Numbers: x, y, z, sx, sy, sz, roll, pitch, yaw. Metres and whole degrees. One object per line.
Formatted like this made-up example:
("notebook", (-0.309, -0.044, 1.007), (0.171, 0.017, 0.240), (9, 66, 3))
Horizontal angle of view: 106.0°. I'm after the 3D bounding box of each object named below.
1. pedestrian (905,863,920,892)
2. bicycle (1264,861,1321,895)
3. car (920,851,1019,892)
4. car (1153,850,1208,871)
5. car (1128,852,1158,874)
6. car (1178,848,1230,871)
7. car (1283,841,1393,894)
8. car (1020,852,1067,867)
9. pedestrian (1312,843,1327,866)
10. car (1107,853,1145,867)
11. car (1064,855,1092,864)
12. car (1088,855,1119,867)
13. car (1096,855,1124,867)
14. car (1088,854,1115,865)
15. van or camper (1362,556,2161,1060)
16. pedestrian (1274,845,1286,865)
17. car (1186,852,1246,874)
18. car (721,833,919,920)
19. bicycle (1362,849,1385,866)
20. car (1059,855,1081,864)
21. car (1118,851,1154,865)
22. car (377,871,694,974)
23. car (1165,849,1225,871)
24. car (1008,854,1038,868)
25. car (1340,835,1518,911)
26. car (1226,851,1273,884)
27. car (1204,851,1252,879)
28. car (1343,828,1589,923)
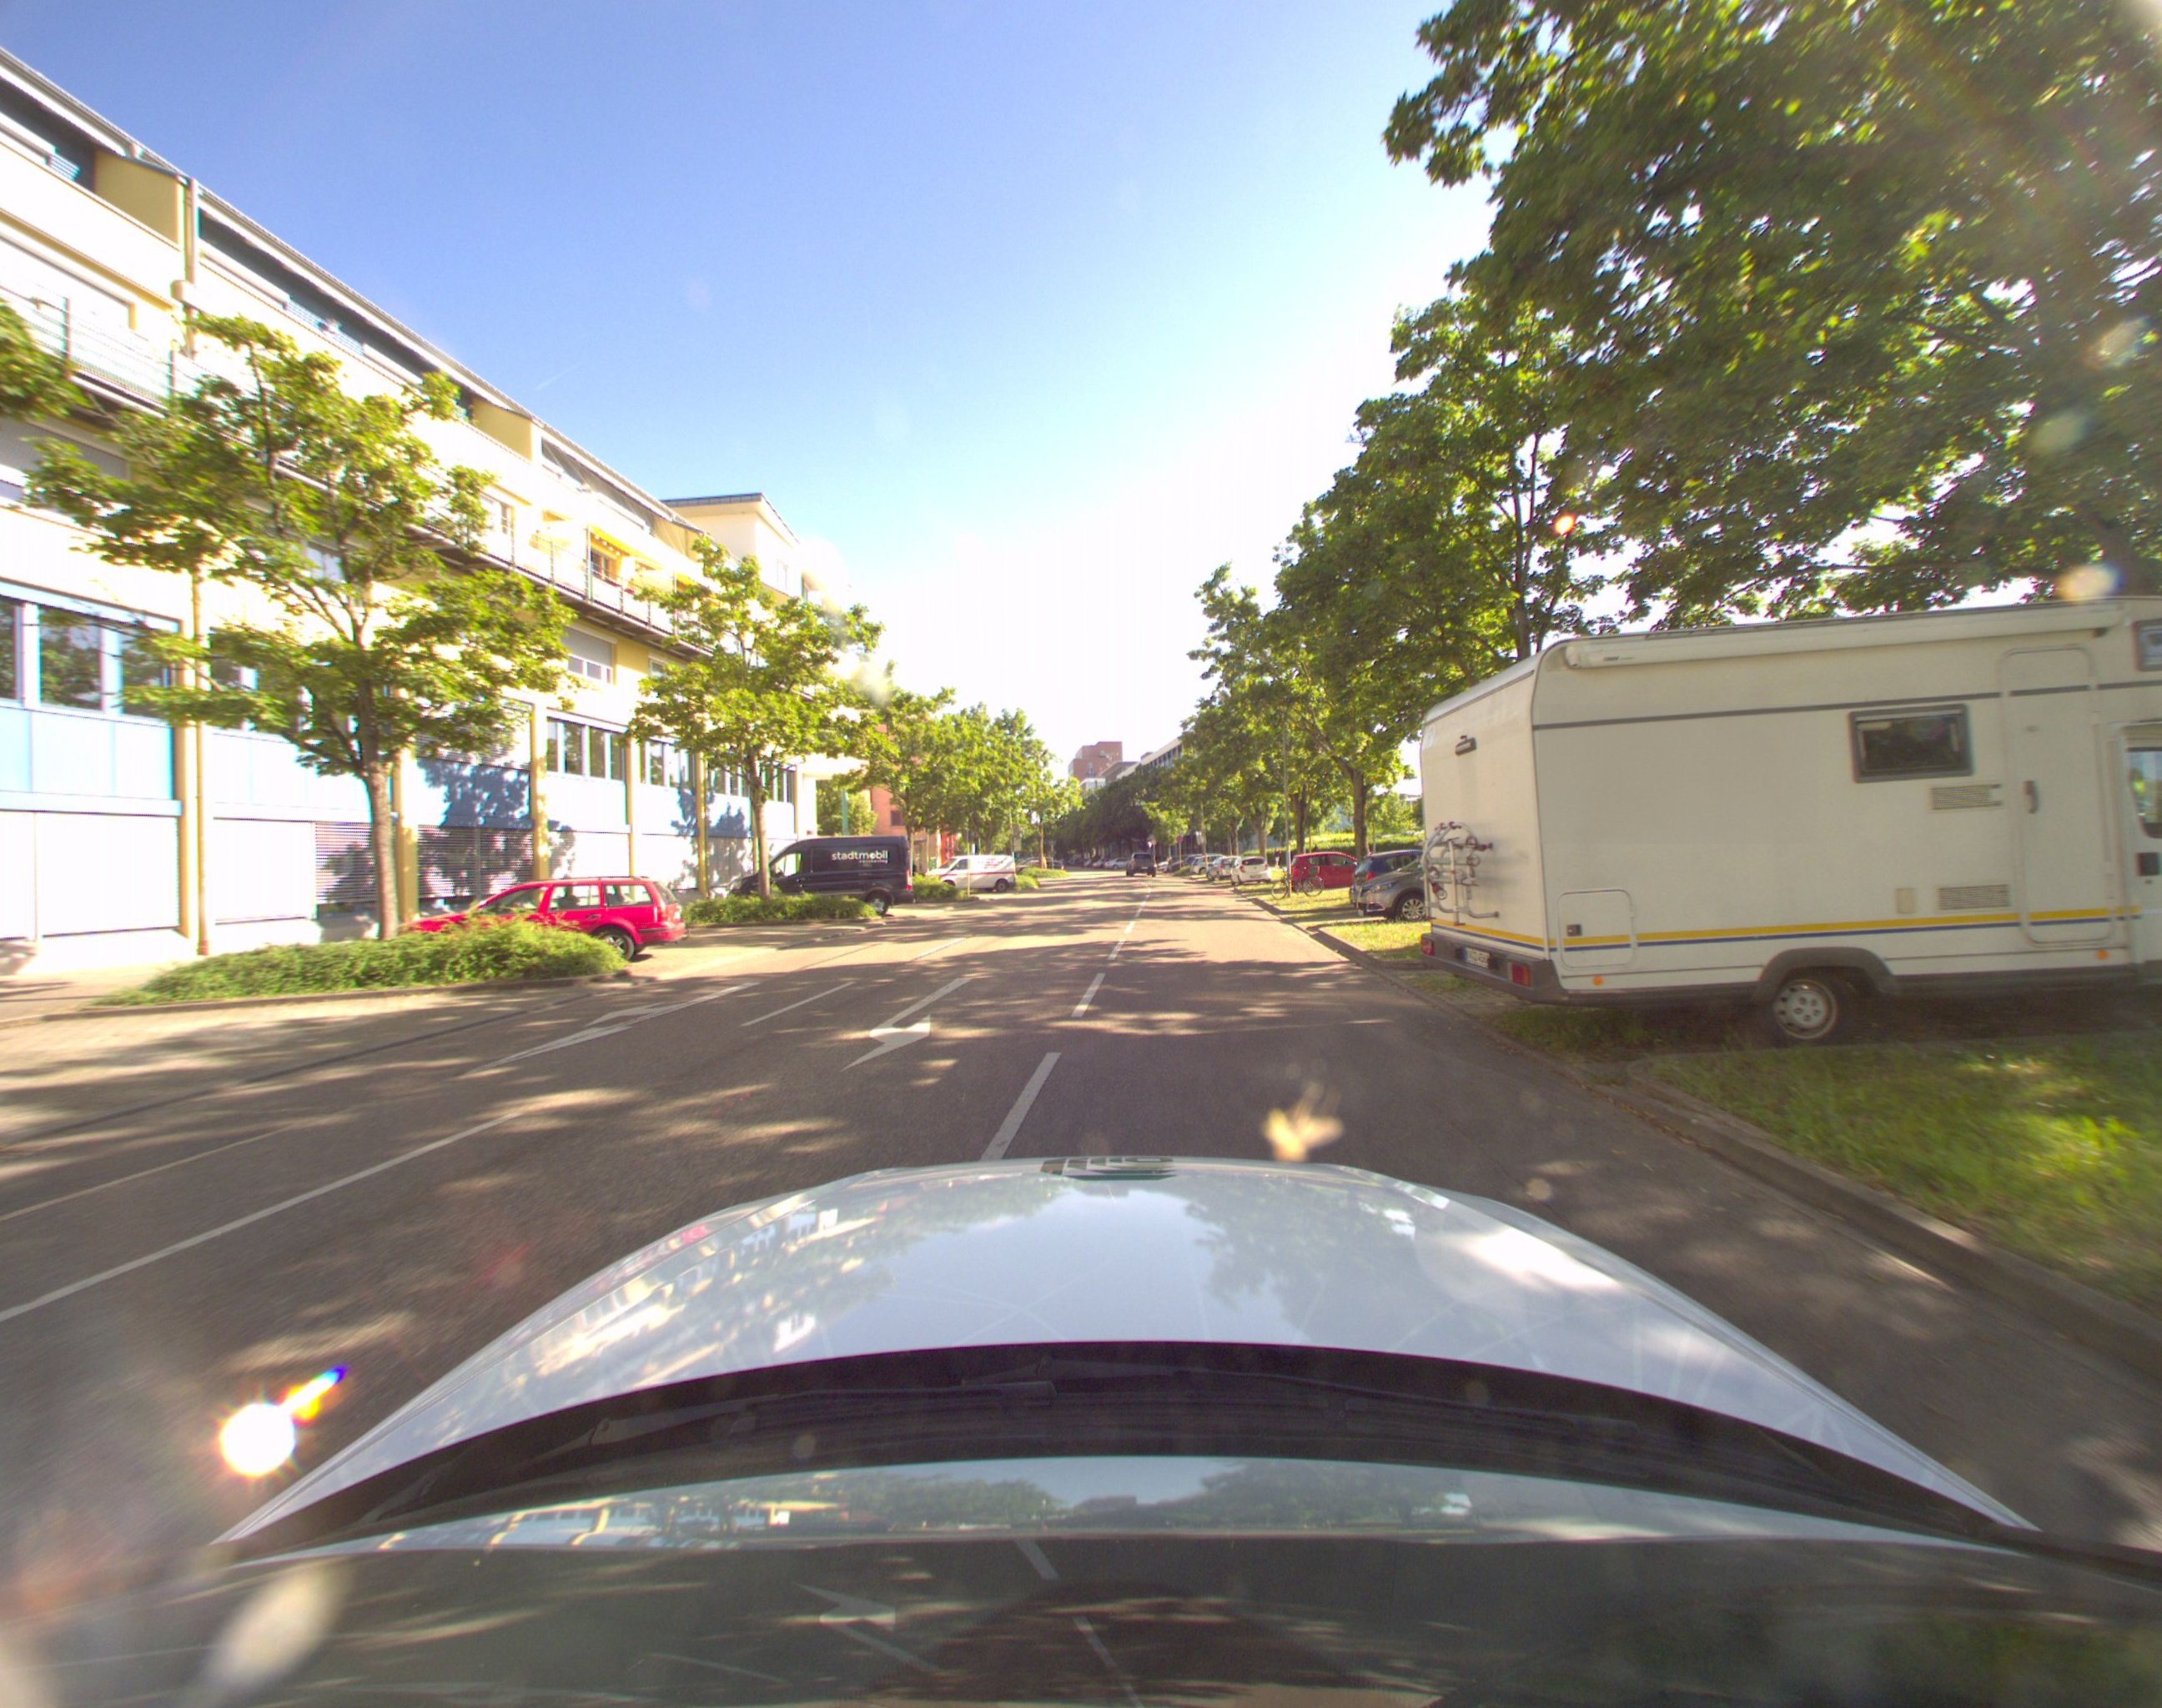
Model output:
("pedestrian", (-10.411, 1.449, 50.450), (0.655, 1.725, 1.021), (-3, -1, -2))
("bicycle", (6.885, 0.788, 26.508), (1.737, 0.991, 0.532), (-4, -1, 17))
("car", (-5.843, 0.882, 42.856), (4.786, 1.985, 1.980), (-1, 0, -31))
("car", (9.070, 0.600, 74.546), (4.554, 1.515, 1.973), (-4, -1, -13))
("car", (4.803, 0.722, 63.581), (1.987, 1.640, 3.999), (0, -1, 0))
("car", (10.070, 0.447, 66.797), (3.799, 1.448, 1.742), (-6, -1, -5))
("car", (9.138, 0.473, 29.136), (3.416, 1.544, 1.630), (-5, -1, 6))
("car", (-3.473, 0.509, 75.211), (4.253, 1.423, 1.737), (0, 0, -3))
("pedestrian", (16.926, 0.034, 57.820), (0.722, 1.588, 0.851), (-2, 0, -5))
("car", (5.723, 0.816, 104.426), (4.572, 1.475, 1.743), (-4, 0, -6))
("car", (-0.538, 1.065, 151.151), (4.823, 1.420, 2.026), (-3, 0, -9))
("car", (3.397, 1.051, 121.904), (4.291, 1.493, 1.995), (-3, 0, -14))
("car", (4.236, 0.980, 119.418), (3.746, 1.493, 1.610), (-3, 0, -13))
("car", (3.161, 0.907, 128.492), (3.968, 1.420, 1.705), (-3, 0, -9))
("van or camper", (5.794, -0.321, 6.655), (5.954, 2.984, 2.674), (-4, -1, 4))
("pedestrian", (15.772, 0.085, 64.511), (0.605, 1.542, 0.935), (-2, 0, -5))
("car", (9.721, 0.632, 58.759), (4.075, 1.429, 1.642), (-2, 0, 0))
("car", (-7.897, 0.593, 24.874), (5.507, 2.436, 2.171), (-1, 0, -21))
("bicycle", (15.742, 0.178, 43.861), (0.347, 0.866, 1.400), (-3, 0, -18))
("car", (-2.364, 1.099, 173.711), (4.351, 1.704, 1.806), (-3, 0, -10))
("car", (7.304, 0.532, 108.292), (4.505, 1.542, 1.920), (-3, 0, -3))
("car", (-9.141, 1.083, 14.104), (4.236, 1.475, 1.757), (-1, 0, -21))
("car", (9.696, 0.545, 69.479), (4.544, 1.515, 2.154), (-4, -1, -6))
("car", (-8.558, 1.027, 120.040), (4.480, 2.090, 2.079), (0, 0, -5))
("car", (8.318, 0.446, 19.726), (3.448, 1.479, 1.860), (-5, -1, 2))
("car", (8.710, 0.658, 42.238), (1.637, 1.493, 3.766), (-4, 0, 1))
("car", (9.032, 0.670, 50.456), (1.805, 1.493, 4.618), (-4, 0, -3))
("car", (7.846, 0.436, 16.961), (4.171, 1.546, 1.863), (-5, -1, 6))
